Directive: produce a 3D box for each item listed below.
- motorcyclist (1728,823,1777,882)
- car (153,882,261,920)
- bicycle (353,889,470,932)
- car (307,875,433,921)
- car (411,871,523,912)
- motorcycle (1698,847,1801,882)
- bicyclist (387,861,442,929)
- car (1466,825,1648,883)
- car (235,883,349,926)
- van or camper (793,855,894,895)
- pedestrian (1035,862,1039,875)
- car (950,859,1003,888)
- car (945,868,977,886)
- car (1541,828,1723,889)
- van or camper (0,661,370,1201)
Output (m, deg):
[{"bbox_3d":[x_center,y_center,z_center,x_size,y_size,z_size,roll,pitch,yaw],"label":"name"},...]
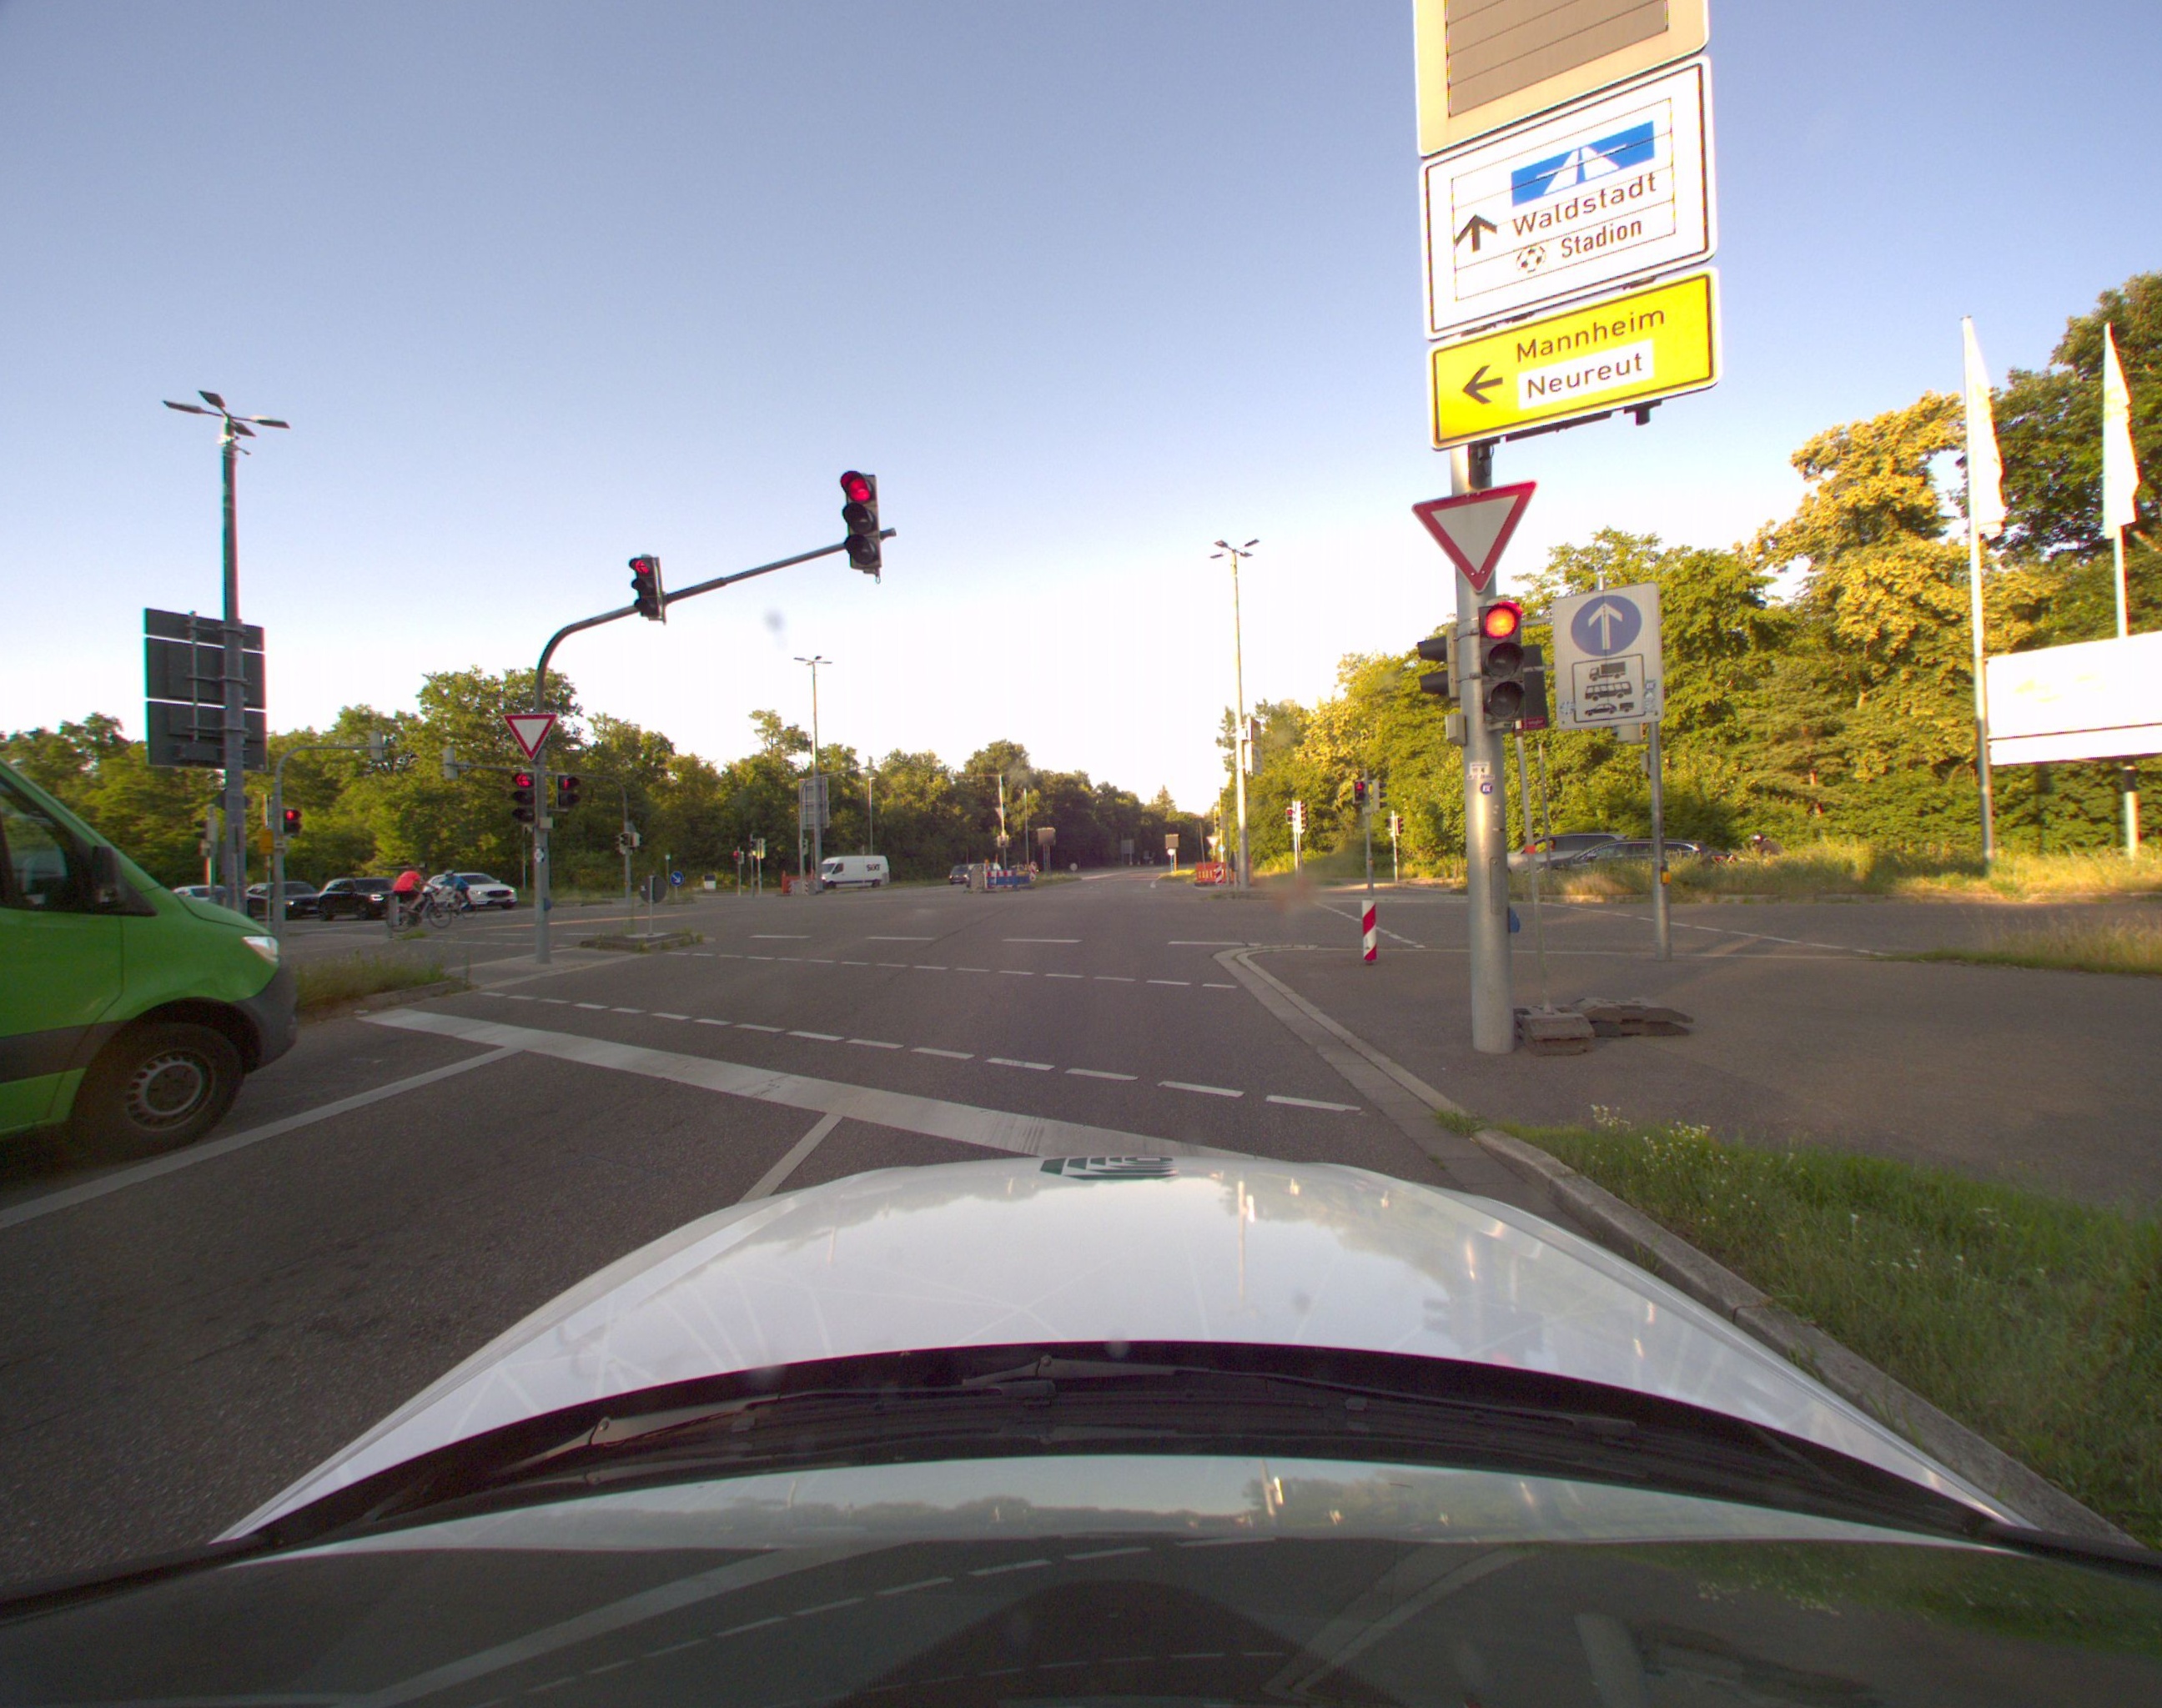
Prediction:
[{"bbox_3d":[18.939,-0.038,22.980,0.878,1.595,0.658,-2,-1,23],"label":"motorcyclist"},{"bbox_3d":[-41.259,2.216,38.467,4.207,1.640,2.011,-2,0,21],"label":"car"},{"bbox_3d":[-19.122,1.592,23.368,0.761,1.031,2.658,-2,0,13],"label":"bicycle"},{"bbox_3d":[-27.556,1.703,31.551,4.206,1.640,2.011,-2,0,23],"label":"car"},{"bbox_3d":[-26.762,1.645,35.491,4.206,1.640,2.011,-2,0,23],"label":"car"},{"bbox_3d":[18.858,0.308,23.024,2.125,0.910,0.666,-2,-1,23],"label":"motorcycle"},{"bbox_3d":[-19.129,1.163,23.395,0.670,1.879,0.983,-2,-1,12],"label":"bicyclist"},{"bbox_3d":[15.028,0.026,26.071,4.773,1.598,2.011,-2,0,23],"label":"car"},{"bbox_3d":[-33.927,2.158,35.026,4.205,1.640,2.011,-2,0,23],"label":"car"},{"bbox_3d":[-17.597,1.512,60.861,2.857,2.652,7.166,-2,0,30],"label":"van or camper"},{"bbox_3d":[-7.097,2.363,131.131,0.519,2.014,0.600,0,-1,2],"label":"pedestrian"},{"bbox_3d":[-6.715,1.236,52.605,1.979,1.640,4.016,-3,0,14],"label":"car"},{"bbox_3d":[-11.692,2.231,79.869,1.982,1.640,4.009,-2,0,8],"label":"car"},{"bbox_3d":[14.831,0.131,22.171,3.827,1.489,1.781,-2,0,24],"label":"car"},{"bbox_3d":[-5.860,0.365,2.553,1.987,2.421,5.896,-2,0,1],"label":"van or camper"}]
